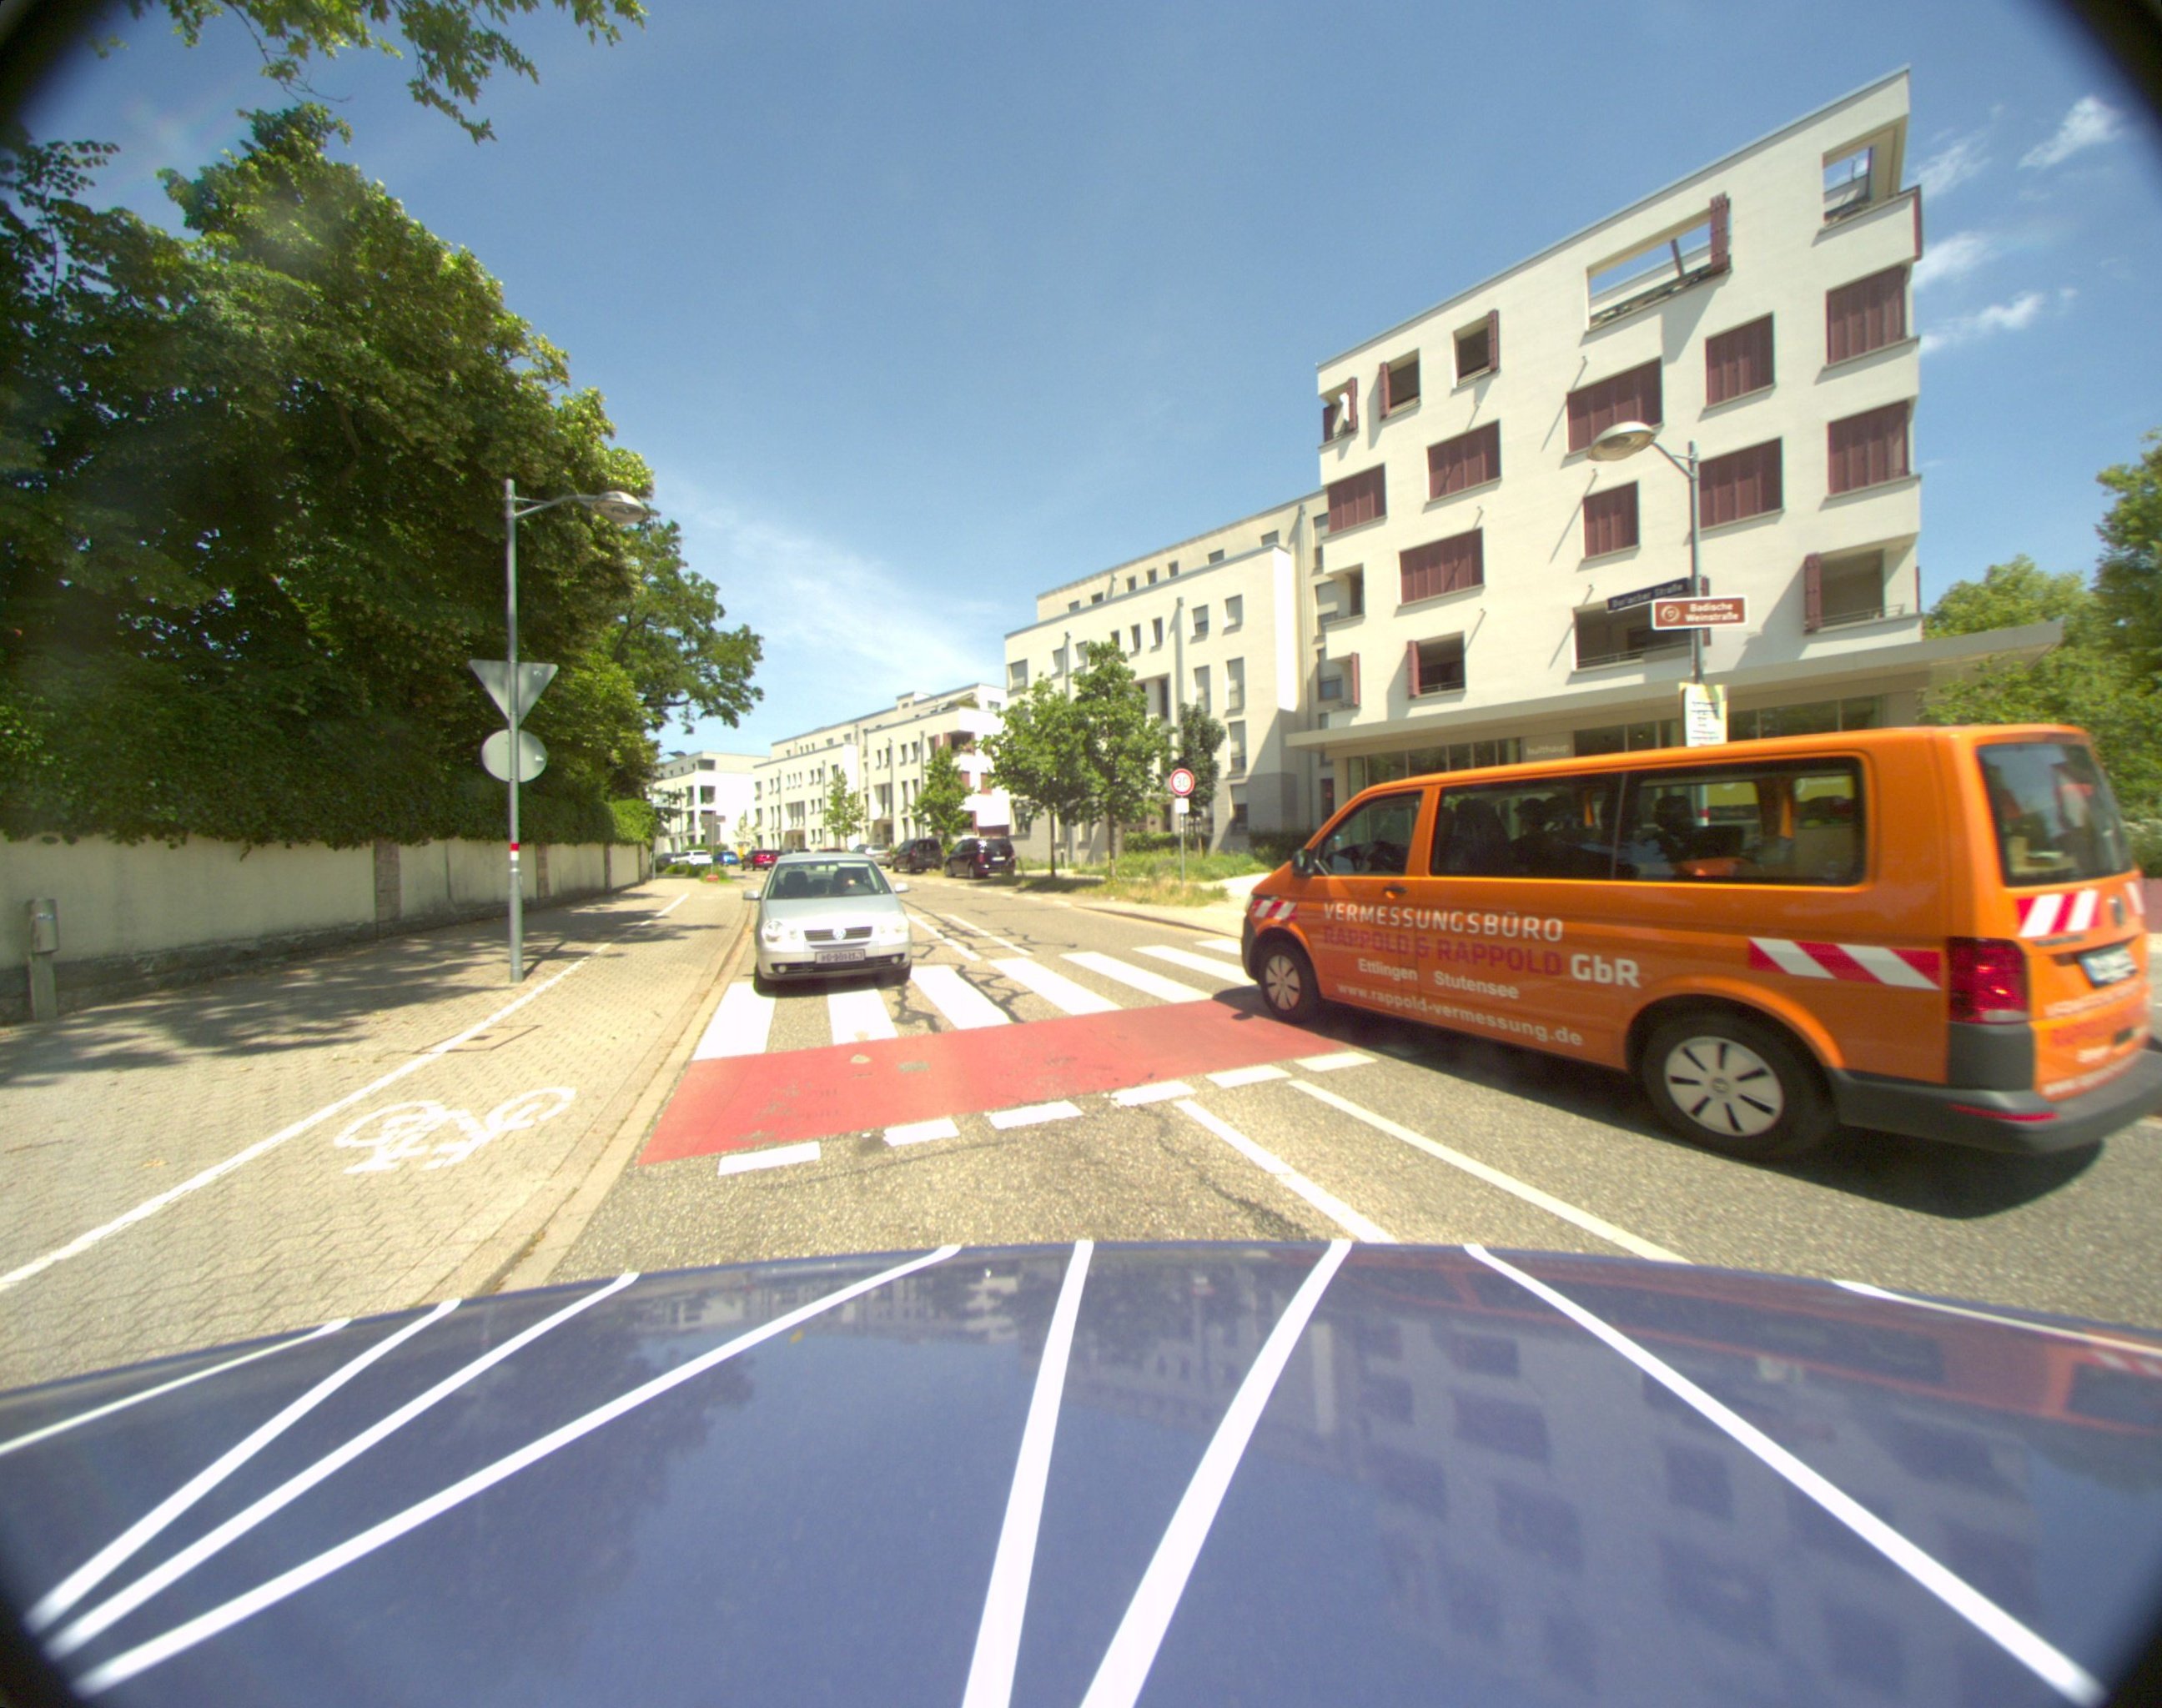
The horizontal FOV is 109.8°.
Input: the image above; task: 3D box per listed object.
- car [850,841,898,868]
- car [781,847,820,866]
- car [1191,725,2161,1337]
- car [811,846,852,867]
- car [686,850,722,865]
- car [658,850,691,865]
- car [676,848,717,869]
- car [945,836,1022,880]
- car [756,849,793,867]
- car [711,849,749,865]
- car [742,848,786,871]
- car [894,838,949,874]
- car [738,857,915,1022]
[{"bbox_3d":[-12.750,0.012,46.689,1.794,1.581,3.618,-3,2,-33],"label":"car"},{"bbox_3d":[-21.561,0.177,58.370,1.710,1.405,3.711,-3,2,-38],"label":"car"},{"bbox_3d":[2.997,0.491,5.070,1.952,1.949,5.009,-4,2,-25],"label":"car"},{"bbox_3d":[-17.646,0.147,53.620,1.710,1.405,3.617,-3,2,-35],"label":"car"},{"bbox_3d":[-36.900,0.347,74.333,3.710,1.405,1.710,0,2,40],"label":"car"},{"bbox_3d":[-41.936,0.347,78.365,3.710,1.405,1.710,0,2,40],"label":"car"},{"bbox_3d":[-32.536,0.357,64.248,1.820,1.599,4.108,-3,2,-45],"label":"car"},{"bbox_3d":[-4.010,0.118,30.760,1.702,1.628,4.011,-2,2,-28],"label":"car"},{"bbox_3d":[-25.385,0.333,62.908,1.710,1.405,3.711,-3,2,-40],"label":"car"},{"bbox_3d":[-32.609,0.281,70.598,3.710,1.405,1.710,0,2,40],"label":"car"},{"bbox_3d":[-22.033,0.363,52.671,1.759,1.496,3.981,-3,2,-38],"label":"car"},{"bbox_3d":[-8.104,0.069,38.402,1.702,1.691,3.619,-2,2,-29],"label":"car"},{"bbox_3d":[-3.187,0.827,9.405,1.610,1.443,3.992,-2,2,-20],"label":"car"}]
